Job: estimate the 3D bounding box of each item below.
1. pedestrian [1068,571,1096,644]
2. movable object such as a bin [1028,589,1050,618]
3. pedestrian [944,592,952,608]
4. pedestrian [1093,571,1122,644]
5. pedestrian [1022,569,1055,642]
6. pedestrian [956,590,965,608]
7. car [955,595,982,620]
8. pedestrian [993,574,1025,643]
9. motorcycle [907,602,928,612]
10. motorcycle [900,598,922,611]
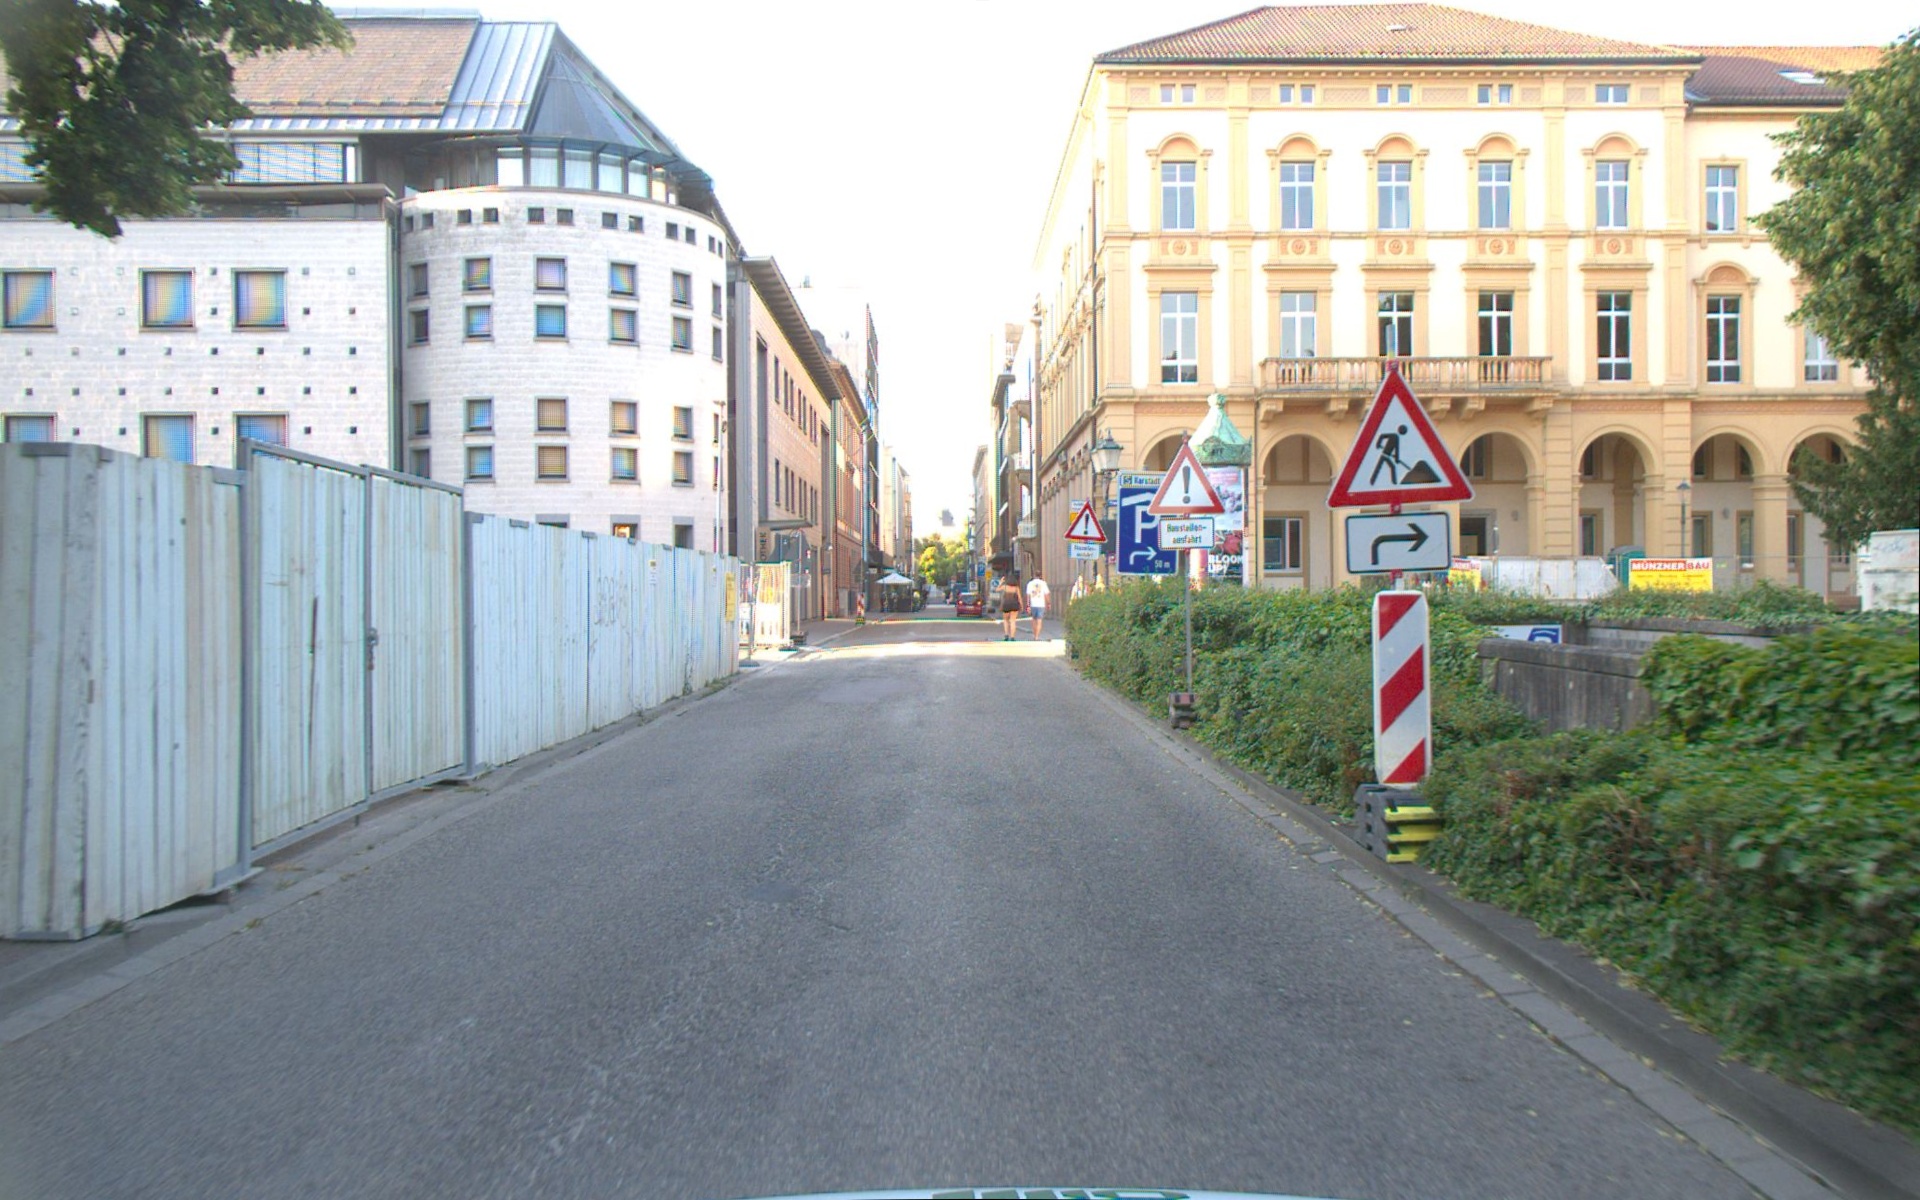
[{"bbox_3d":[3.135,0.195,42.554,0.623,1.835,0.771,-1,0,-2],"label":"pedestrian"},{"bbox_3d":[3.933,0.186,82.124,0.970,1.416,1.240,-1,0,-2],"label":"movable object such as a bin"},{"bbox_3d":[-1.279,0.044,177.645,0.788,1.702,0.888,-1,0,1],"label":"pedestrian"},{"bbox_3d":[3.803,0.192,42.587,0.623,1.835,0.771,-1,0,-2],"label":"pedestrian"},{"bbox_3d":[2.085,0.157,44.030,0.795,1.908,0.875,-1,0,-2],"label":"pedestrian"},{"bbox_3d":[0.029,-0.077,163.173,0.848,1.743,0.852,0,0,-1],"label":"pedestrian"},{"bbox_3d":[0.532,0.453,103.093,1.616,1.452,3.535,2,0,0],"label":"car"},{"bbox_3d":[1.291,0.226,43.902,0.760,1.777,0.875,-1,0,-2],"label":"pedestrian"},{"bbox_3d":[-3.643,0.609,142.888,1.766,0.891,0.560,0,0,-5],"label":"motorcycle"},{"bbox_3d":[-4.011,0.377,134.689,1.766,1.059,0.493,0,0,-5],"label":"motorcycle"}]
